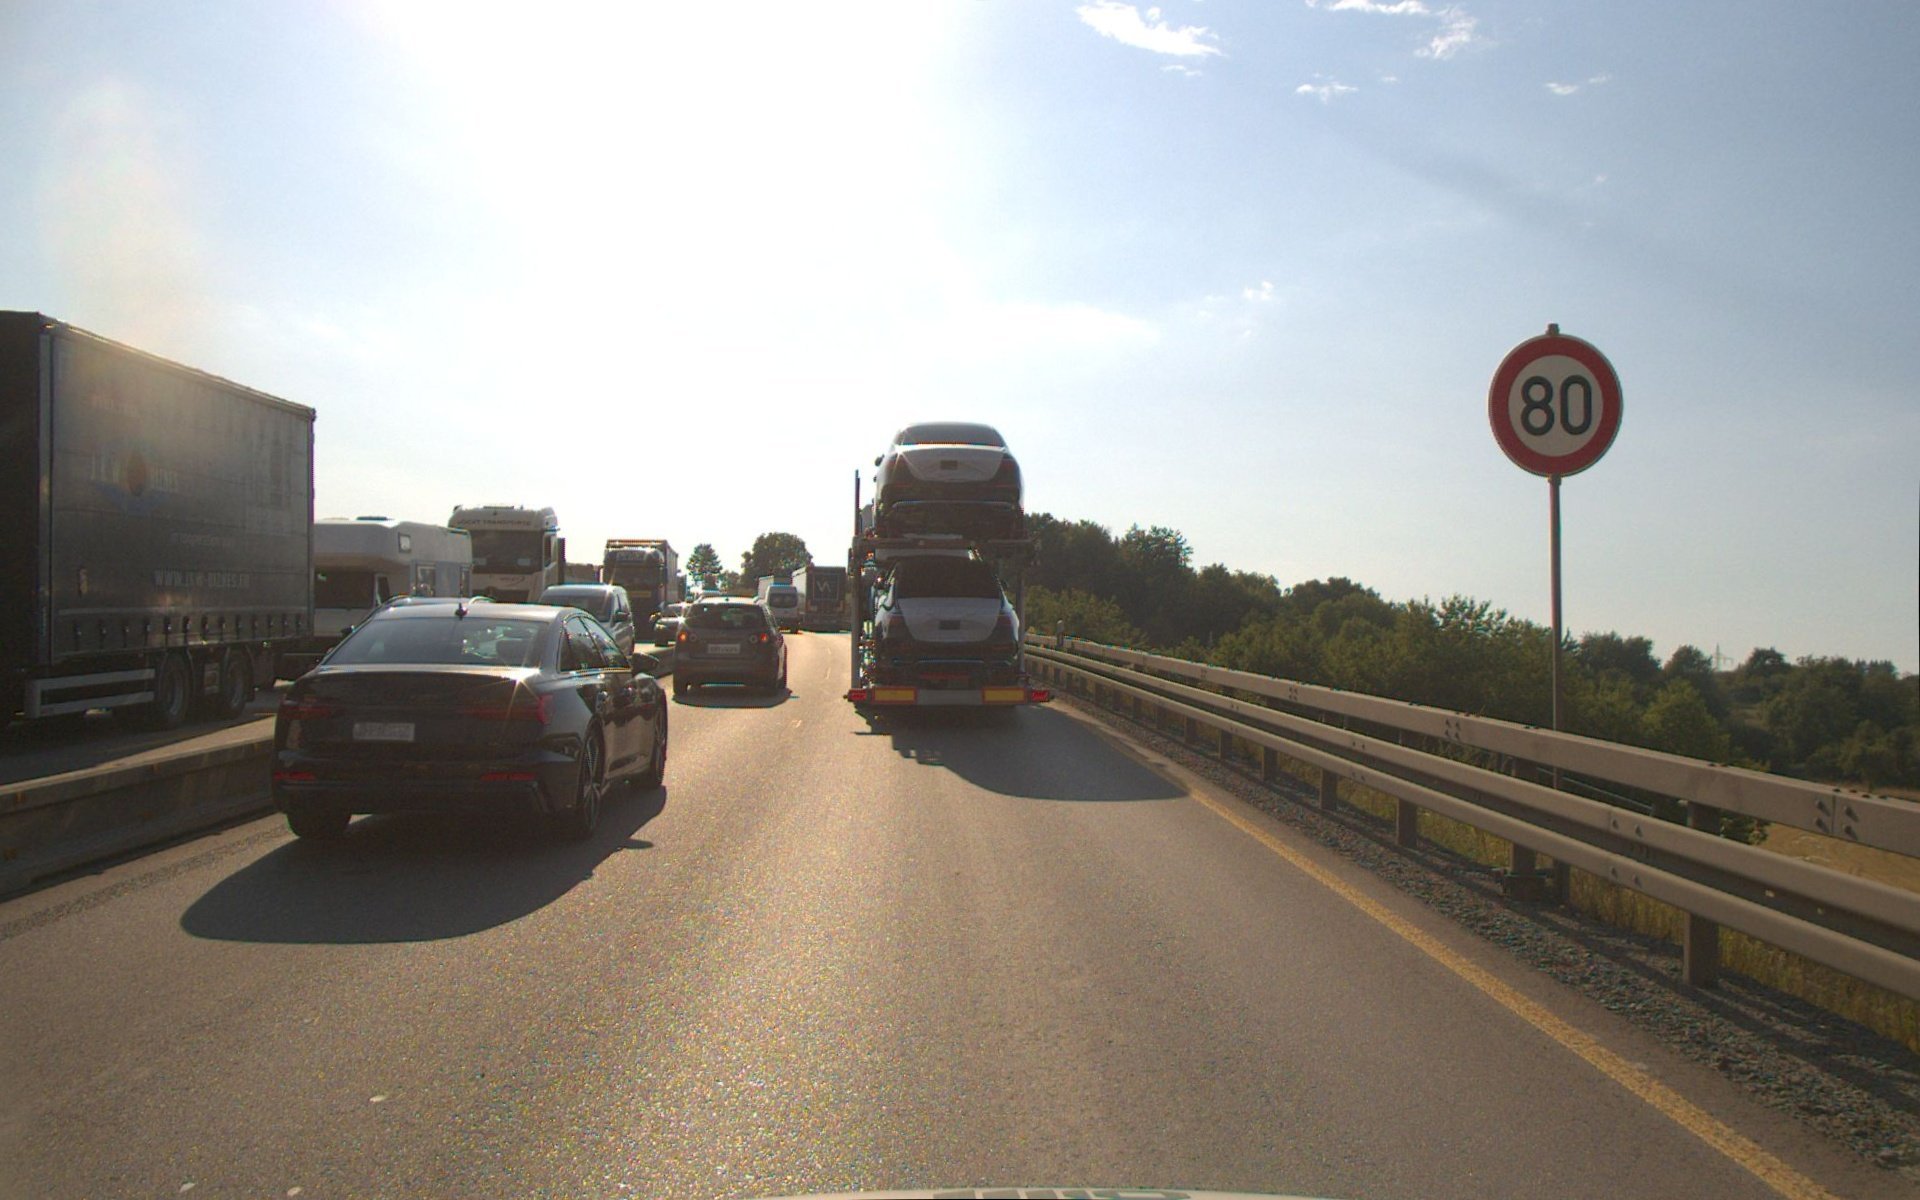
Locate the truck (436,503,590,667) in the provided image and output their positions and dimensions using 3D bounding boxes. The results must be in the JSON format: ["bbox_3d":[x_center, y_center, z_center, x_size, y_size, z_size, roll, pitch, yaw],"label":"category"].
[{"bbox_3d":[-11.190,-0.319,41.981,2.550,3.820,6.511,0,-1,-4],"label":"truck"}]

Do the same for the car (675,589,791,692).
[{"bbox_3d":[-3.791,0.655,28.143,1.658,1.624,3.997,0,-1,-4],"label":"car"}]

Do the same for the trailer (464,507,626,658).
[{"bbox_3d":[-11.809,-0.377,48.450,2.471,3.790,13.961,0,-1,-5],"label":"trailer"}]

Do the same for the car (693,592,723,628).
[{"bbox_3d":[-18.413,0.759,121.032,2.018,2.544,6.763,0,-1,-8],"label":"car"}]

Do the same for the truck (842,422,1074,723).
[{"bbox_3d":[-0.321,-0.272,24.949,2.743,3.558,10.597,0,-1,-3],"label":"truck"}]

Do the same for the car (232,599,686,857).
[{"bbox_3d":[-3.189,0.715,11.671,1.896,1.423,4.958,1,0,-3],"label":"car"}]

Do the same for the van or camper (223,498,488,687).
[{"bbox_3d":[-10.524,-0.088,29.650,2.360,2.942,7.612,0,-1,-4],"label":"van or camper"}]

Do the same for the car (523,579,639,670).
[{"bbox_3d":[-7.609,0.488,33.543,1.723,1.725,4.448,0,-1,-6],"label":"car"}]

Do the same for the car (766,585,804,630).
[{"bbox_3d":[-10.146,0.472,96.226,1.882,2.536,5.405,0,-1,-3],"label":"car"}]

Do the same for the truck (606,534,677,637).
[{"bbox_3d":[-13.397,-0.556,69.845,2.455,4.137,5.657,0,-1,-6],"label":"truck"}]

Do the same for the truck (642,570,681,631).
[{"bbox_3d":[-20.917,0.080,116.149,2.457,4.137,5.872,0,-1,-9],"label":"truck"}]

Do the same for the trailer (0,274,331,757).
[{"bbox_3d":[-9.769,-0.716,18.776,2.394,4.262,8.538,0,-1,-3],"label":"trailer"}]

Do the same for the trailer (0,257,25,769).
[{"bbox_3d":[-9.298,-0.791,9.256,2.426,4.404,10.506,0,-1,-2],"label":"trailer"}]

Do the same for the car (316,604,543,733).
[{"bbox_3d":[-6.755,0.816,21.566,1.646,1.505,4.600,0,-1,-2],"label":"car"}]

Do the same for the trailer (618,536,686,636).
[{"bbox_3d":[-14.258,-0.535,77.384,2.263,4.203,14.577,0,-1,-7],"label":"trailer"}]

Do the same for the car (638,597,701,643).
[{"bbox_3d":[-10.288,0.703,58.836,1.758,1.538,4.581,0,-1,-5],"label":"car"}]

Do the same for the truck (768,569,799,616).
[{"bbox_3d":[-14.707,-0.569,138.047,2.482,3.712,8.893,0,-1,-6],"label":"truck"}]

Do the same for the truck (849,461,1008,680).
[{"bbox_3d":[-0.890,-0.475,34.338,2.782,3.858,9.977,0,-1,-4],"label":"truck"}]

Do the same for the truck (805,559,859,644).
[{"bbox_3d":[-8.461,0.129,108.529,3.223,5.328,9.921,0,-1,-6],"label":"truck"}]

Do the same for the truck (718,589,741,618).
[{"bbox_3d":[-26.023,0.386,186.831,2.542,3.226,6.664,0,-1,-8],"label":"truck"}]
